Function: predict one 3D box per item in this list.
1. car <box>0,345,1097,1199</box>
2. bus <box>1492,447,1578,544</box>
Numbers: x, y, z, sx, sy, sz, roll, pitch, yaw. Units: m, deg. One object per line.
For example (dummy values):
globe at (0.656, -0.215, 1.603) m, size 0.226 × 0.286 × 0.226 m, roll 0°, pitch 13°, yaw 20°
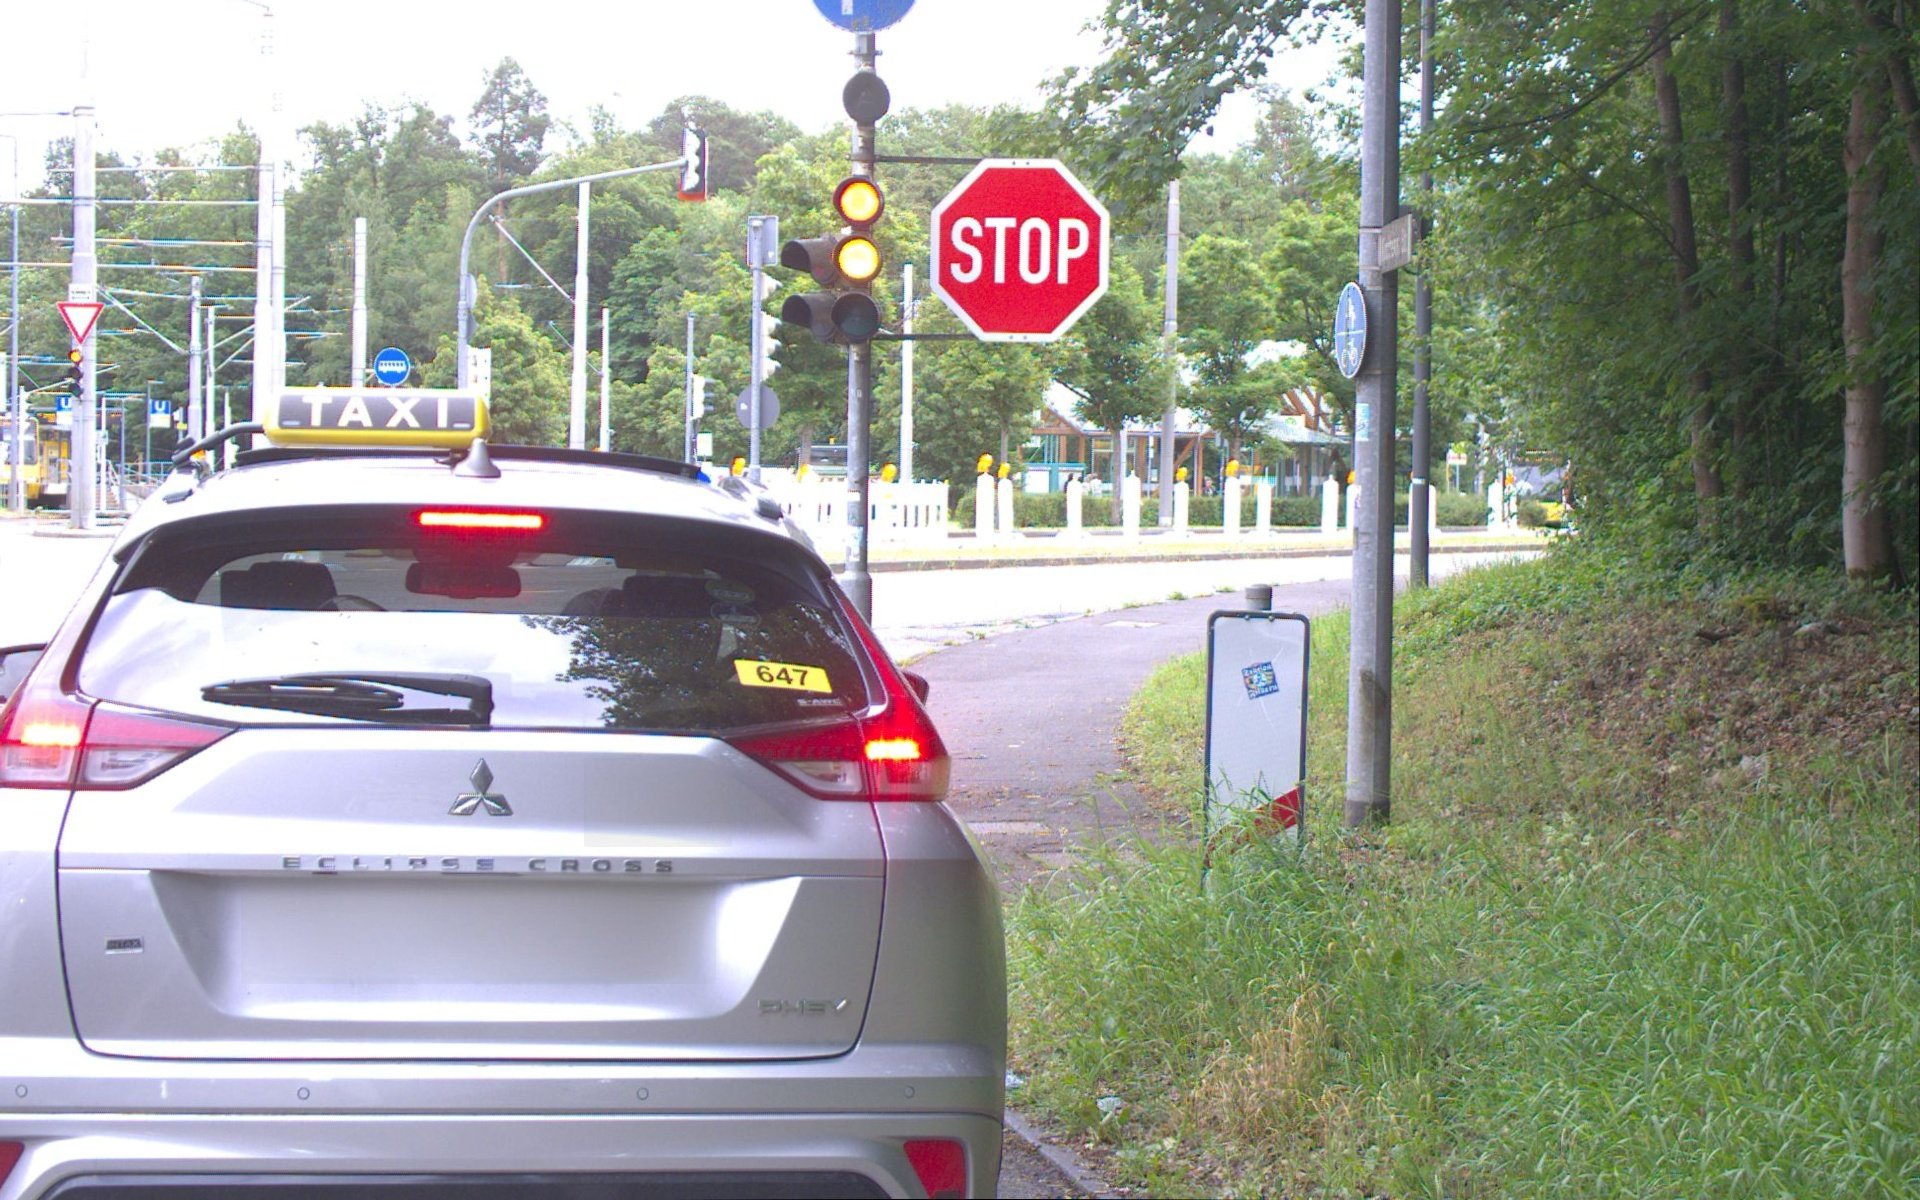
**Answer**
car at (-0.998, 0.469, 6.834) m, size 1.773 × 1.742 × 3.782 m, roll 2°, pitch 2°, yaw -9°
bus at (22.586, -4.180, 135.570) m, size 2.822 × 3.590 × 12.801 m, roll 1°, pitch 2°, yaw 8°
